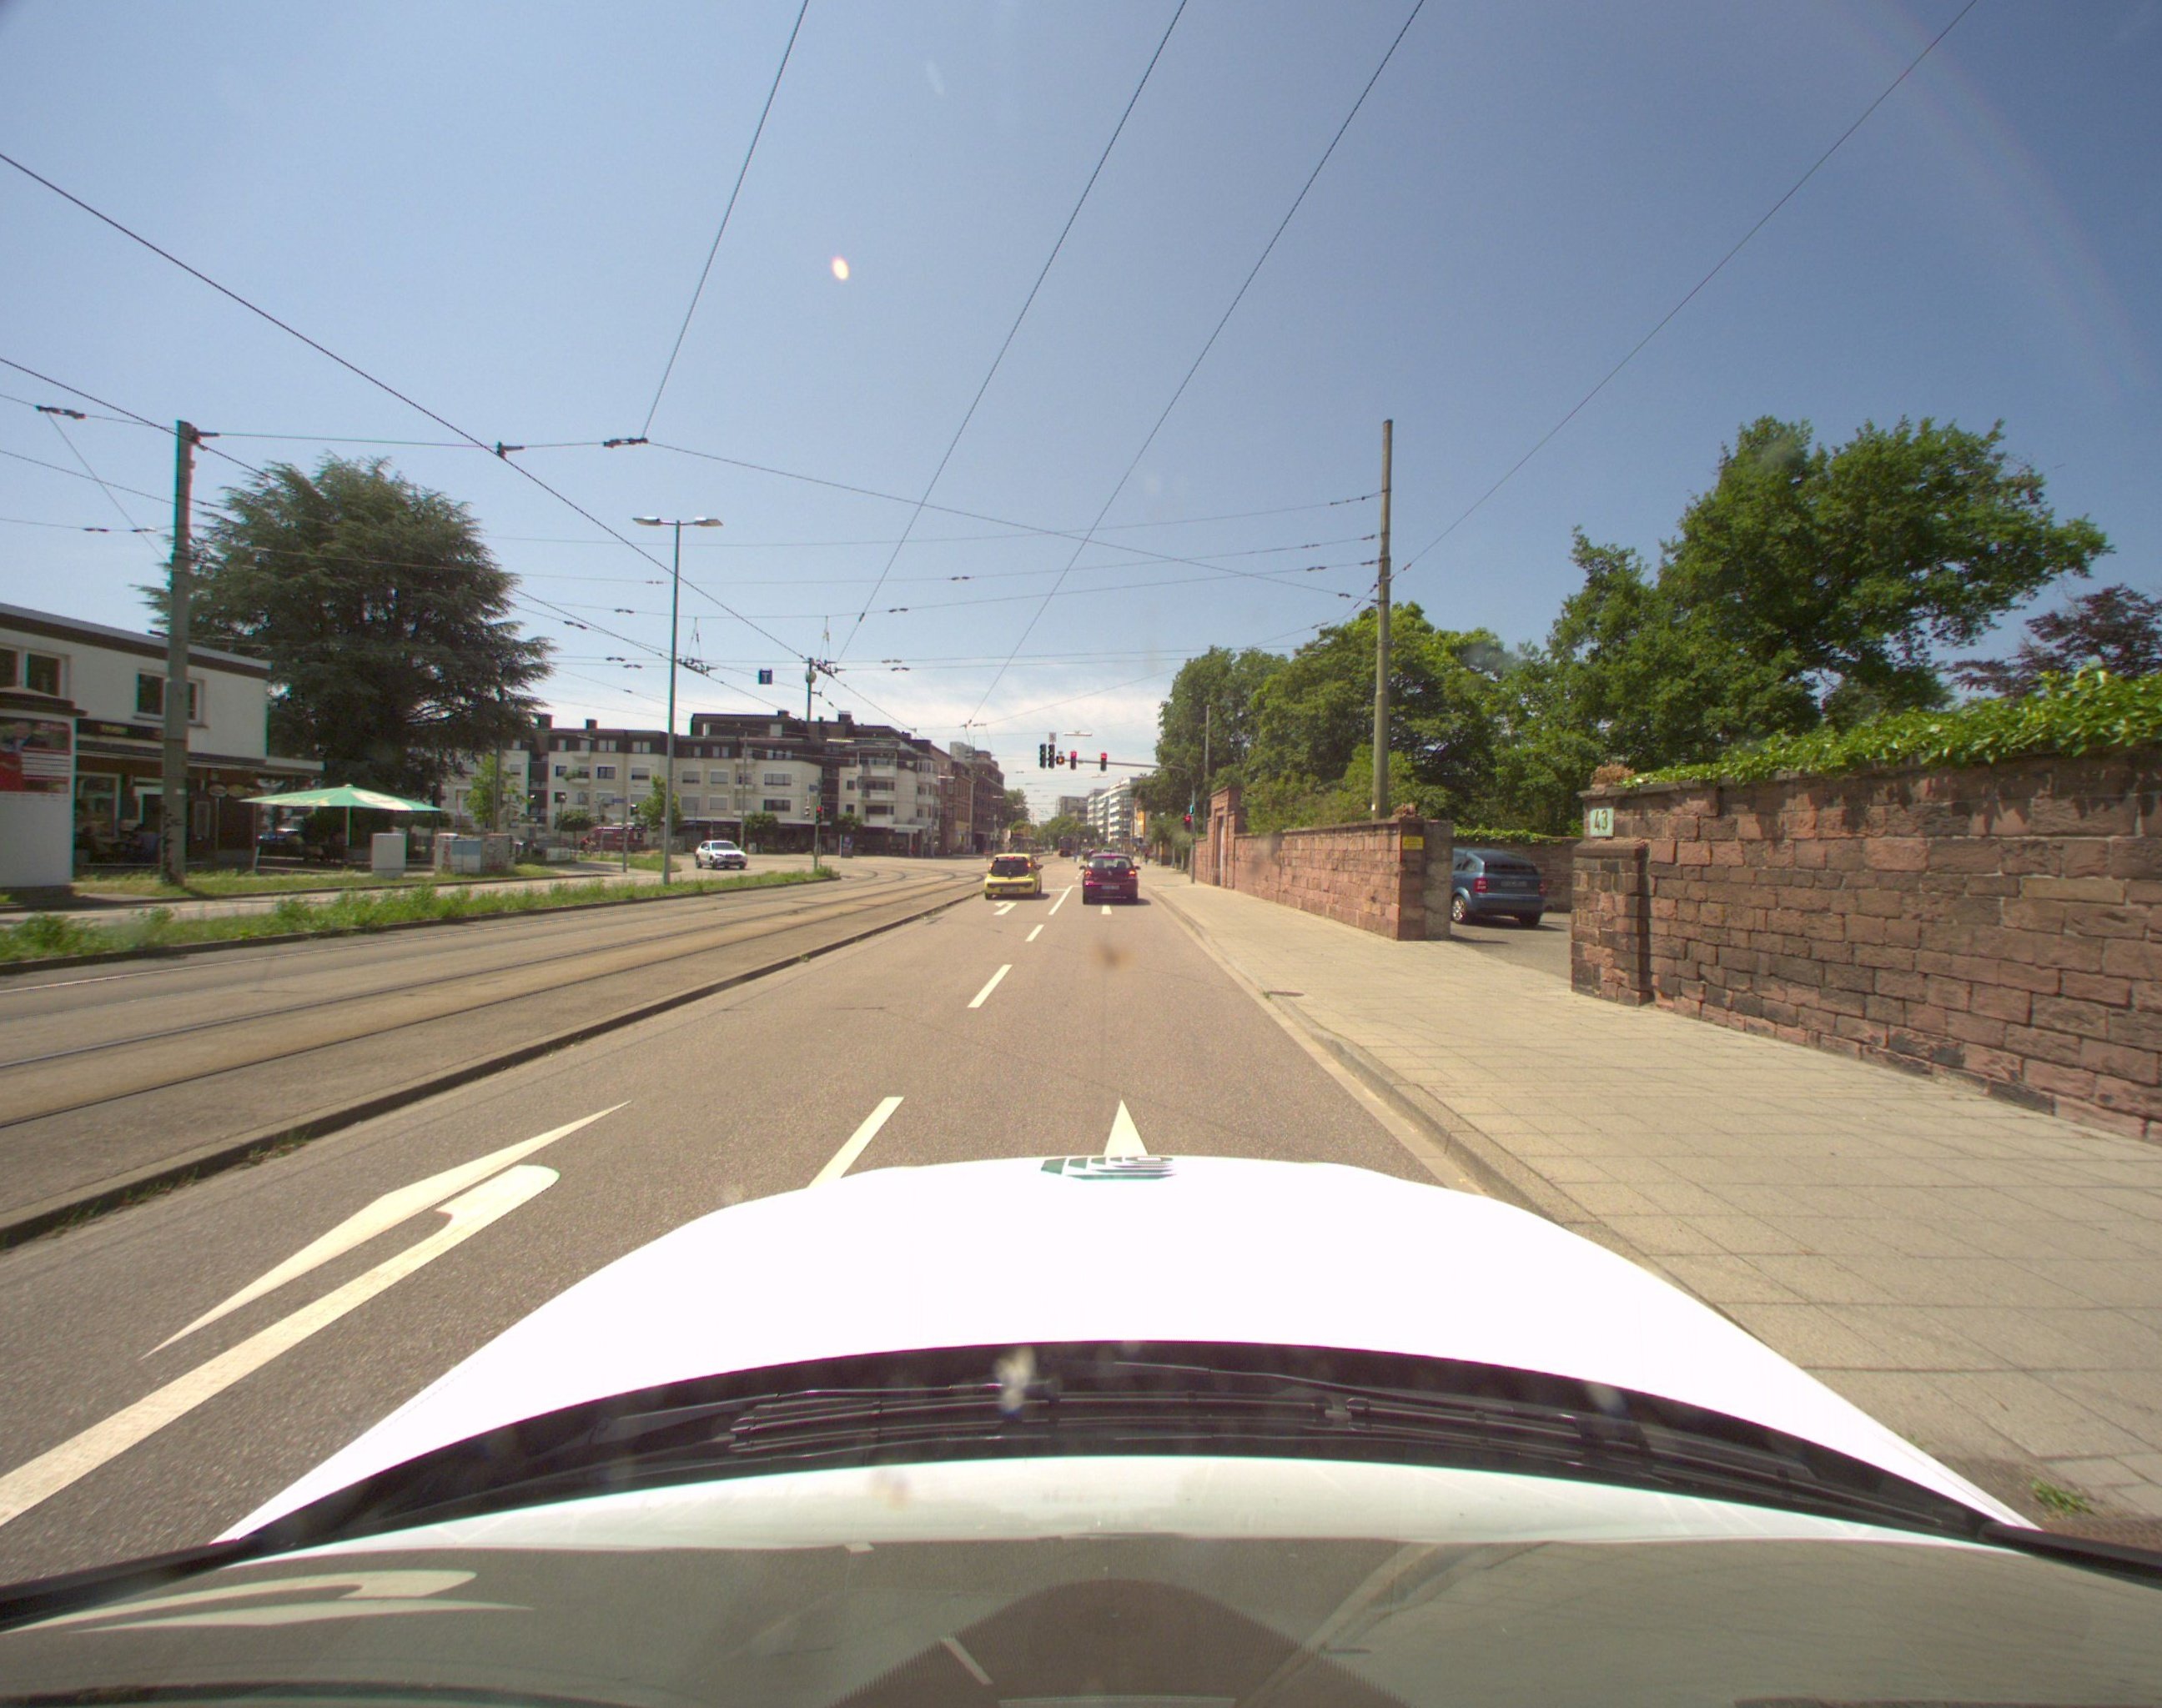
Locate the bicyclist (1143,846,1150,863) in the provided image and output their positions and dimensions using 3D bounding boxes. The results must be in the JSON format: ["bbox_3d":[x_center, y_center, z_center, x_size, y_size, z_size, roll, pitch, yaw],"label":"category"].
[{"bbox_3d":[7.231,0.058,90.013,0.719,1.818,0.889,0,-1,2],"label":"bicyclist"}]

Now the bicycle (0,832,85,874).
[{"bbox_3d":[-25.550,-0.009,19.595,0.608,0.979,2.030,0,-1,2],"label":"bicycle"}]

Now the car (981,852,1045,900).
[{"bbox_3d":[-2.162,0.668,26.650,1.717,1.445,3.294,-1,1,1],"label":"car"}]

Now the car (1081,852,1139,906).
[{"bbox_3d":[0.859,0.697,24.863,1.604,1.463,4.087,-1,0,1],"label":"car"}]

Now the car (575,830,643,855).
[{"bbox_3d":[-44.475,-1.053,76.865,5.048,2.341,2.244,0,-1,0],"label":"car"}]

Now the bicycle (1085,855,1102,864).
[{"bbox_3d":[1.436,0.596,92.886,1.861,1.008,0.578,0,-1,-3],"label":"bicycle"}]

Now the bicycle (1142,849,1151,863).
[{"bbox_3d":[7.289,0.225,91.206,0.831,1.525,4.002,0,-1,2],"label":"bicycle"}]

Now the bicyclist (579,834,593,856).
[{"bbox_3d":[-34.777,-0.644,57.216,0.752,1.501,0.479,0,-1,-20],"label":"bicyclist"}]

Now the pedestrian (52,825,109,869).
[{"bbox_3d":[-29.143,-0.191,23.732,0.587,1.268,0.842,0,-1,2],"label":"pedestrian"}]

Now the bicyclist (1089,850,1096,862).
[{"bbox_3d":[1.356,0.200,92.894,0.764,1.406,0.506,0,-1,-2],"label":"bicyclist"}]

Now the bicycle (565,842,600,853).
[{"bbox_3d":[-34.960,-0.432,57.129,1.987,0.783,0.463,0,-1,-20],"label":"bicycle"}]

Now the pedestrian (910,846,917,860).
[{"bbox_3d":[-19.342,-0.129,94.057,0.479,1.541,0.541,-1,-1,36],"label":"pedestrian"}]

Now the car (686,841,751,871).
[{"bbox_3d":[-20.824,0.119,46.681,4.512,1.610,1.740,-1,-1,42],"label":"car"}]

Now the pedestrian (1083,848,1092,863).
[{"bbox_3d":[0.731,0.196,95.066,0.979,1.661,0.918,1,0,-2],"label":"pedestrian"}]

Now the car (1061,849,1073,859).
[{"bbox_3d":[-2.417,-0.025,138.804,1.931,1.641,4.001,0,-1,1],"label":"car"}]

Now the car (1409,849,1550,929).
[{"bbox_3d":[8.242,0.668,17.086,1.476,1.482,2.944,2,0,-1],"label":"car"}]

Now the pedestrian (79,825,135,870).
[{"bbox_3d":[-28.358,-0.187,23.715,0.587,1.268,0.842,0,-1,2],"label":"pedestrian"}]

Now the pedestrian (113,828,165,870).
[{"bbox_3d":[-28.963,-0.137,25.045,0.587,1.268,0.842,0,-1,2],"label":"pedestrian"}]

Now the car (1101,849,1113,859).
[{"bbox_3d":[3.546,-0.019,111.156,1.567,1.415,3.721,-1,0,1],"label":"car"}]

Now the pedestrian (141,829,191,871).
[{"bbox_3d":[-28.230,-0.129,25.137,0.587,1.268,0.842,0,-1,2],"label":"pedestrian"}]

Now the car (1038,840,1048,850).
[{"bbox_3d":[-8.186,-1.935,176.266,1.728,2.013,4.002,1,0,2],"label":"car"}]
